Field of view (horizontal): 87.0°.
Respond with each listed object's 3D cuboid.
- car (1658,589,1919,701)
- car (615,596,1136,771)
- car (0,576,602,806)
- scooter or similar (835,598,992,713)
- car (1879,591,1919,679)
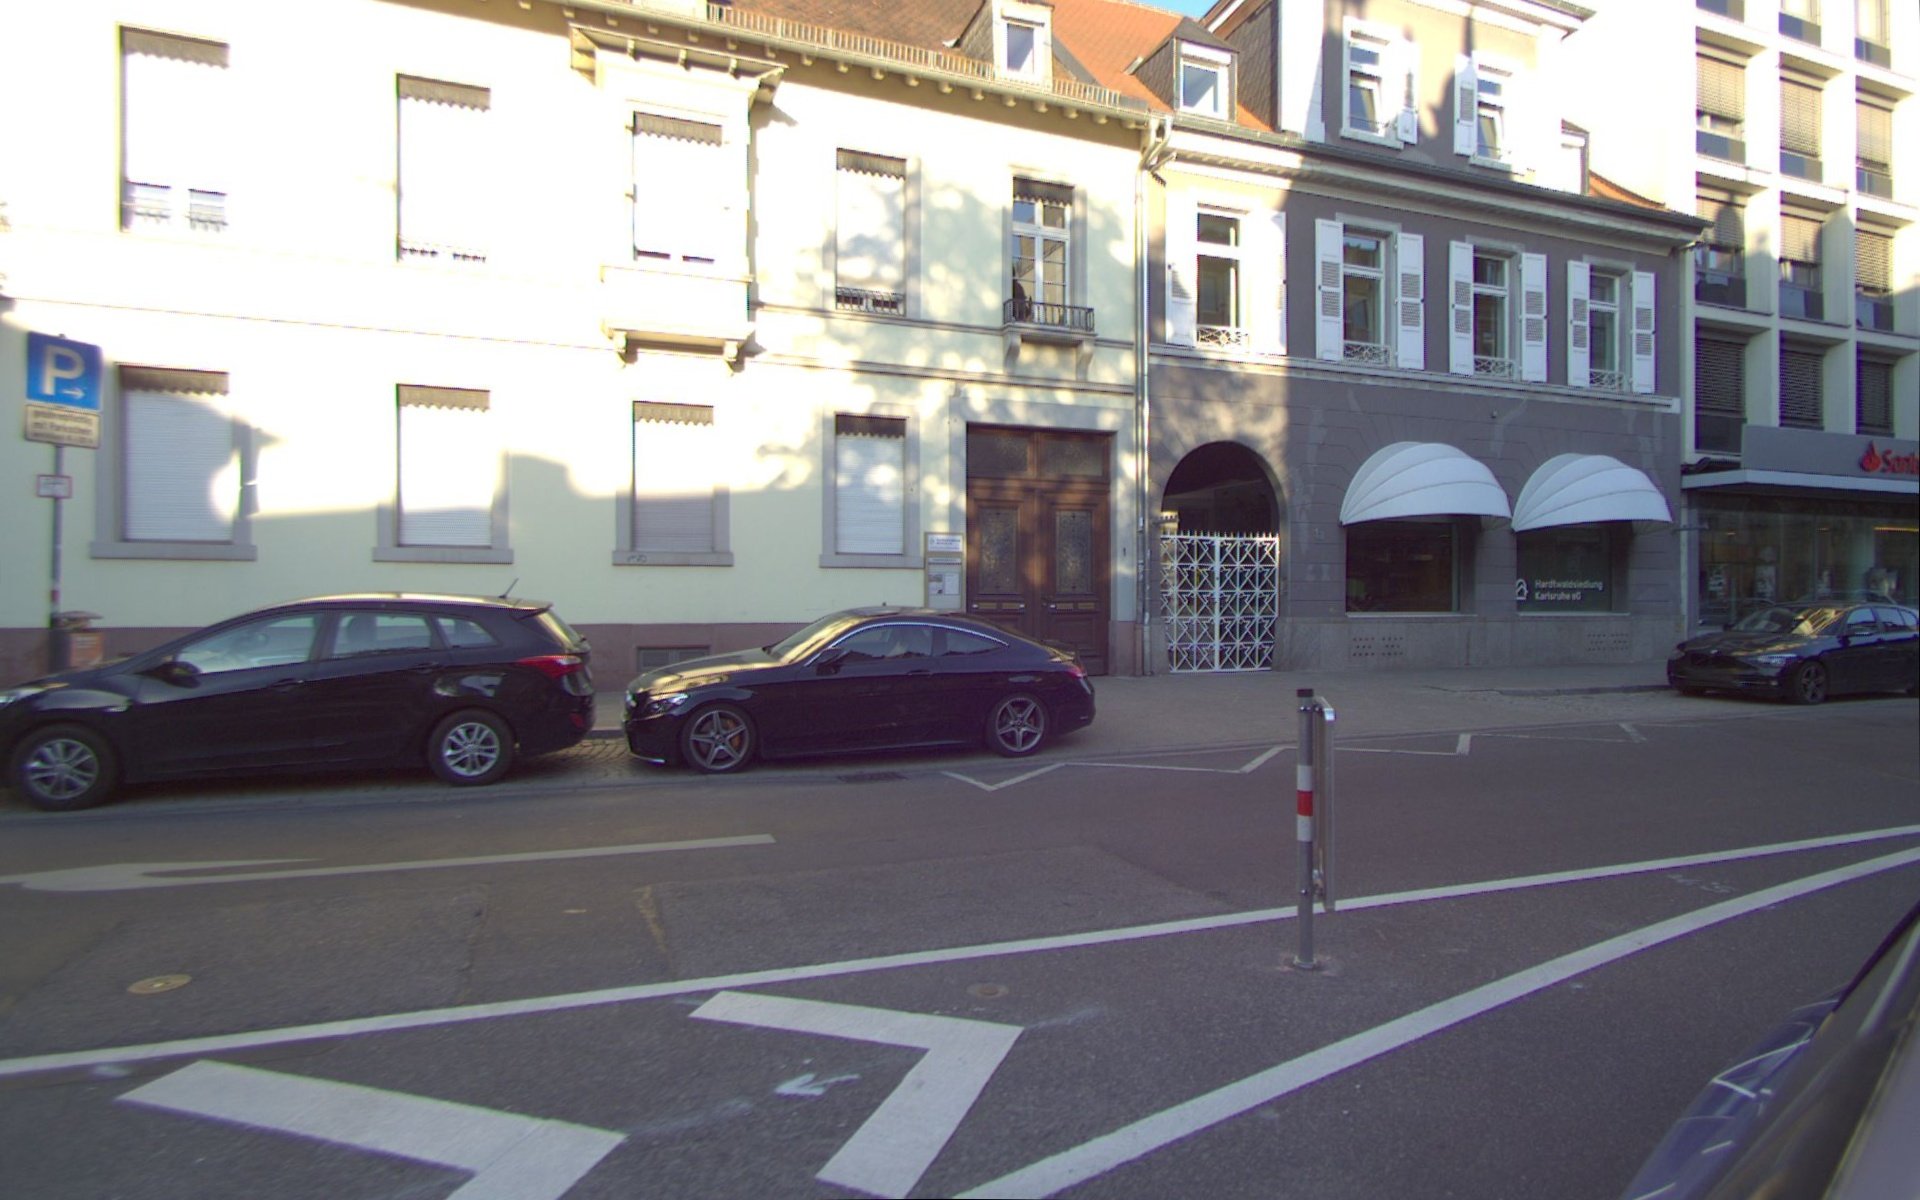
[{"bbox_3d":[12.503,0.574,14.736,4.160,1.465,1.751,0,0,-20],"label":"car"},{"bbox_3d":[-0.842,0.682,9.858,4.755,1.412,1.782,0,-1,-18],"label":"car"},{"bbox_3d":[-5.242,0.621,8.319,4.337,1.561,1.811,0,-1,-20],"label":"car"},{"bbox_3d":[-0.549,0.616,11.650,1.733,1.248,0.605,0,3,-10],"label":"scooter or similar"},{"bbox_3d":[17.482,0.547,16.603,4.407,1.405,1.751,0,0,-21],"label":"car"}]
